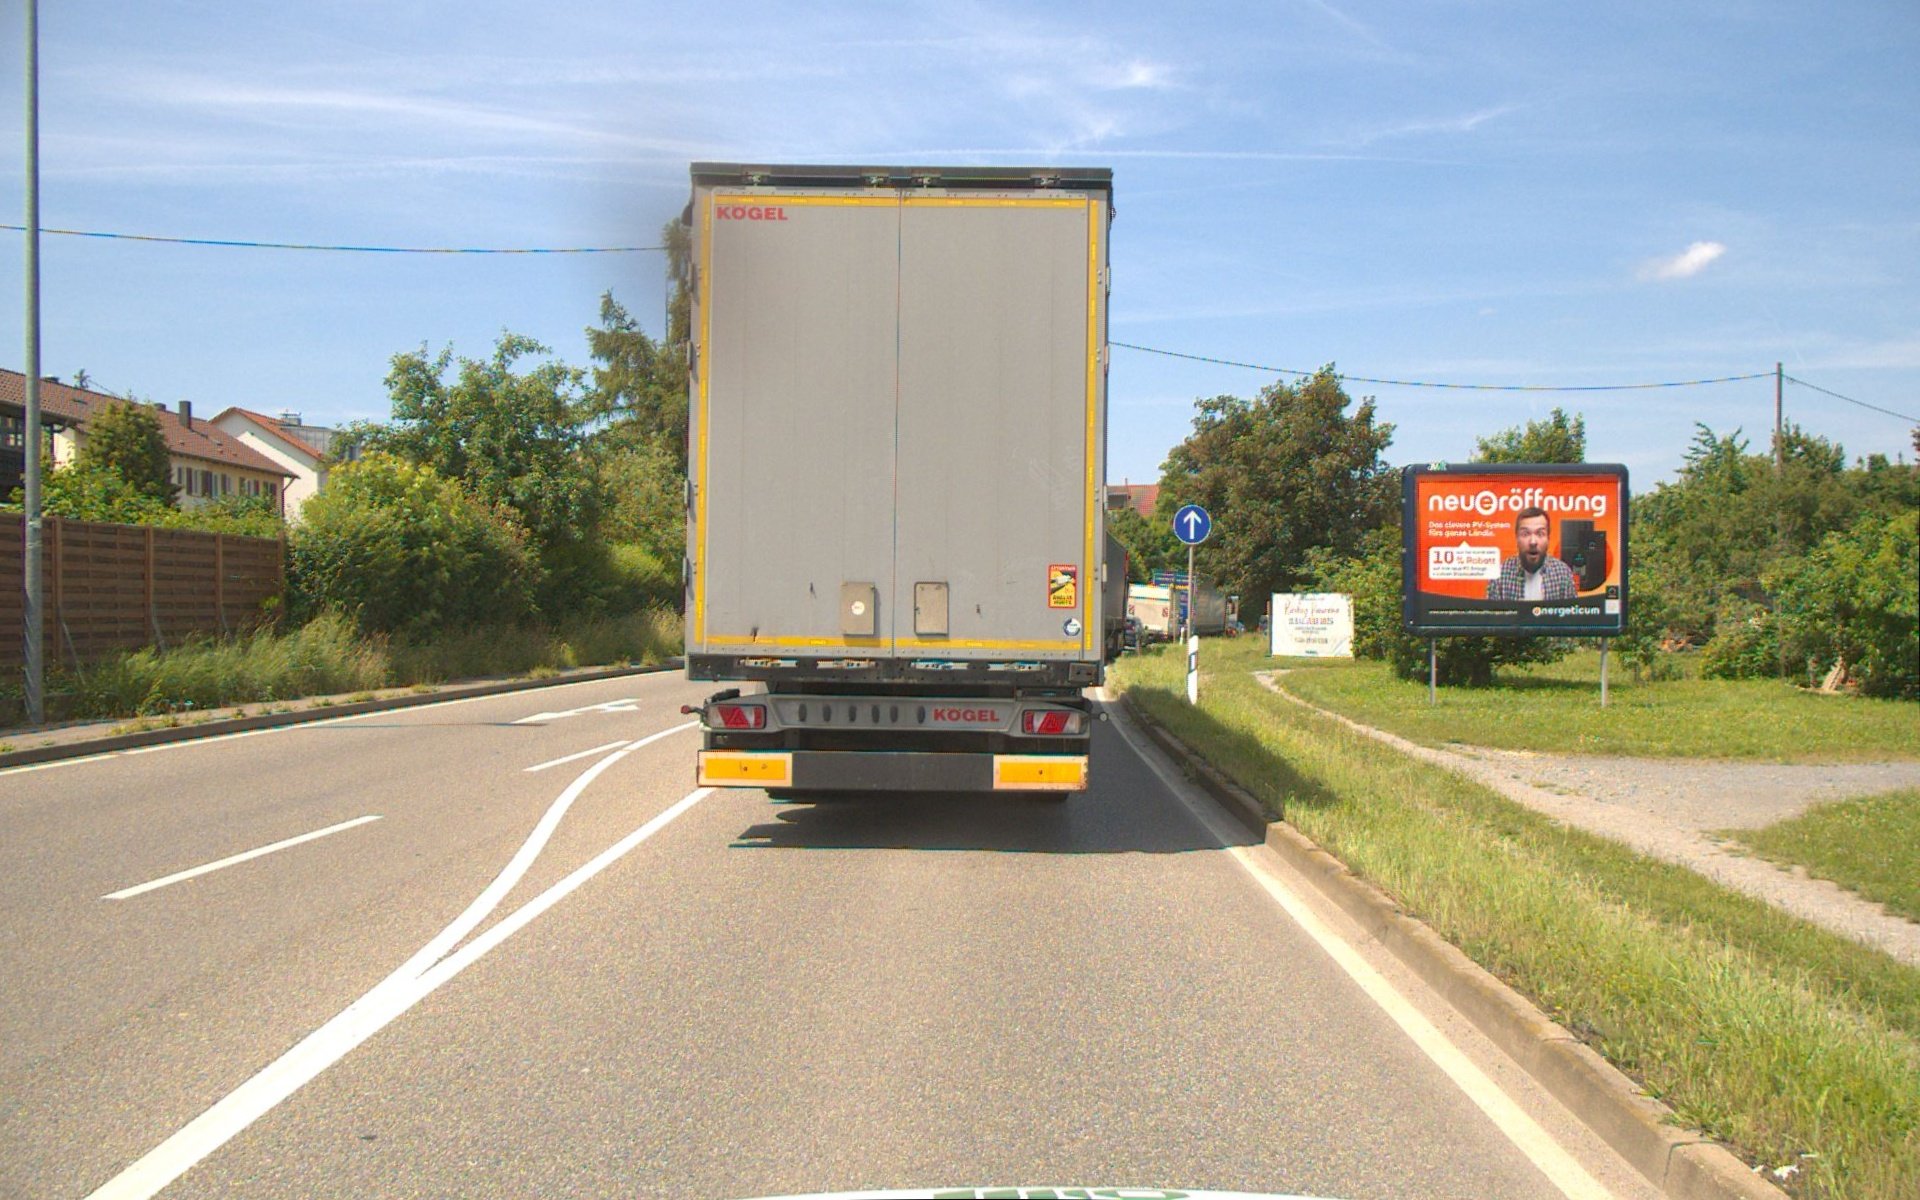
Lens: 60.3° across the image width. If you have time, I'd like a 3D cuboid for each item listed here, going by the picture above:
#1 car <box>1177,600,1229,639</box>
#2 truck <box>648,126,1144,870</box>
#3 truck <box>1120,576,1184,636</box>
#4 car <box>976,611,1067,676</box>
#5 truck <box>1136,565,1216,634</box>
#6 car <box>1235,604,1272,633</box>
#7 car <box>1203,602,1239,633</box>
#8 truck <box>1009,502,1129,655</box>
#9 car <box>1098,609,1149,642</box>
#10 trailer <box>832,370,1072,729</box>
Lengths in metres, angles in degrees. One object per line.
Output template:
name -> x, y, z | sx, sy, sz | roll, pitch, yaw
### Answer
car -> 15.149, 1.159, 102.734 | 2.478, 2.317, 6.386 | 1, 0, 15
truck -> -0.207, -0.615, 15.157 | 2.763, 4.200, 11.446 | 1, 0, 2
truck -> 9.717, 0.346, 83.317 | 2.489, 2.852, 6.036 | 1, -1, 13
car -> 1.461, 0.974, 37.940 | 1.780, 1.370, 3.850 | 1, -1, 7
truck -> 12.297, -0.055, 93.463 | 3.360, 3.667, 9.361 | 1, 0, 14
car -> 21.169, 1.355, 119.286 | 1.952, 2.049, 4.001 | 1, -1, 20
car -> 17.561, 1.181, 111.049 | 1.951, 2.049, 4.003 | 1, -1, 15
truck -> 3.974, -0.500, 55.881 | 2.701, 4.364, 16.427 | 1, -1, 8
car -> 7.483, 1.158, 75.407 | 1.951, 1.400, 4.003 | 1, -1, 11
trailer -> 0.009, -0.605, 22.639 | 2.766, 4.183, 6.545 | 1, 0, 2
